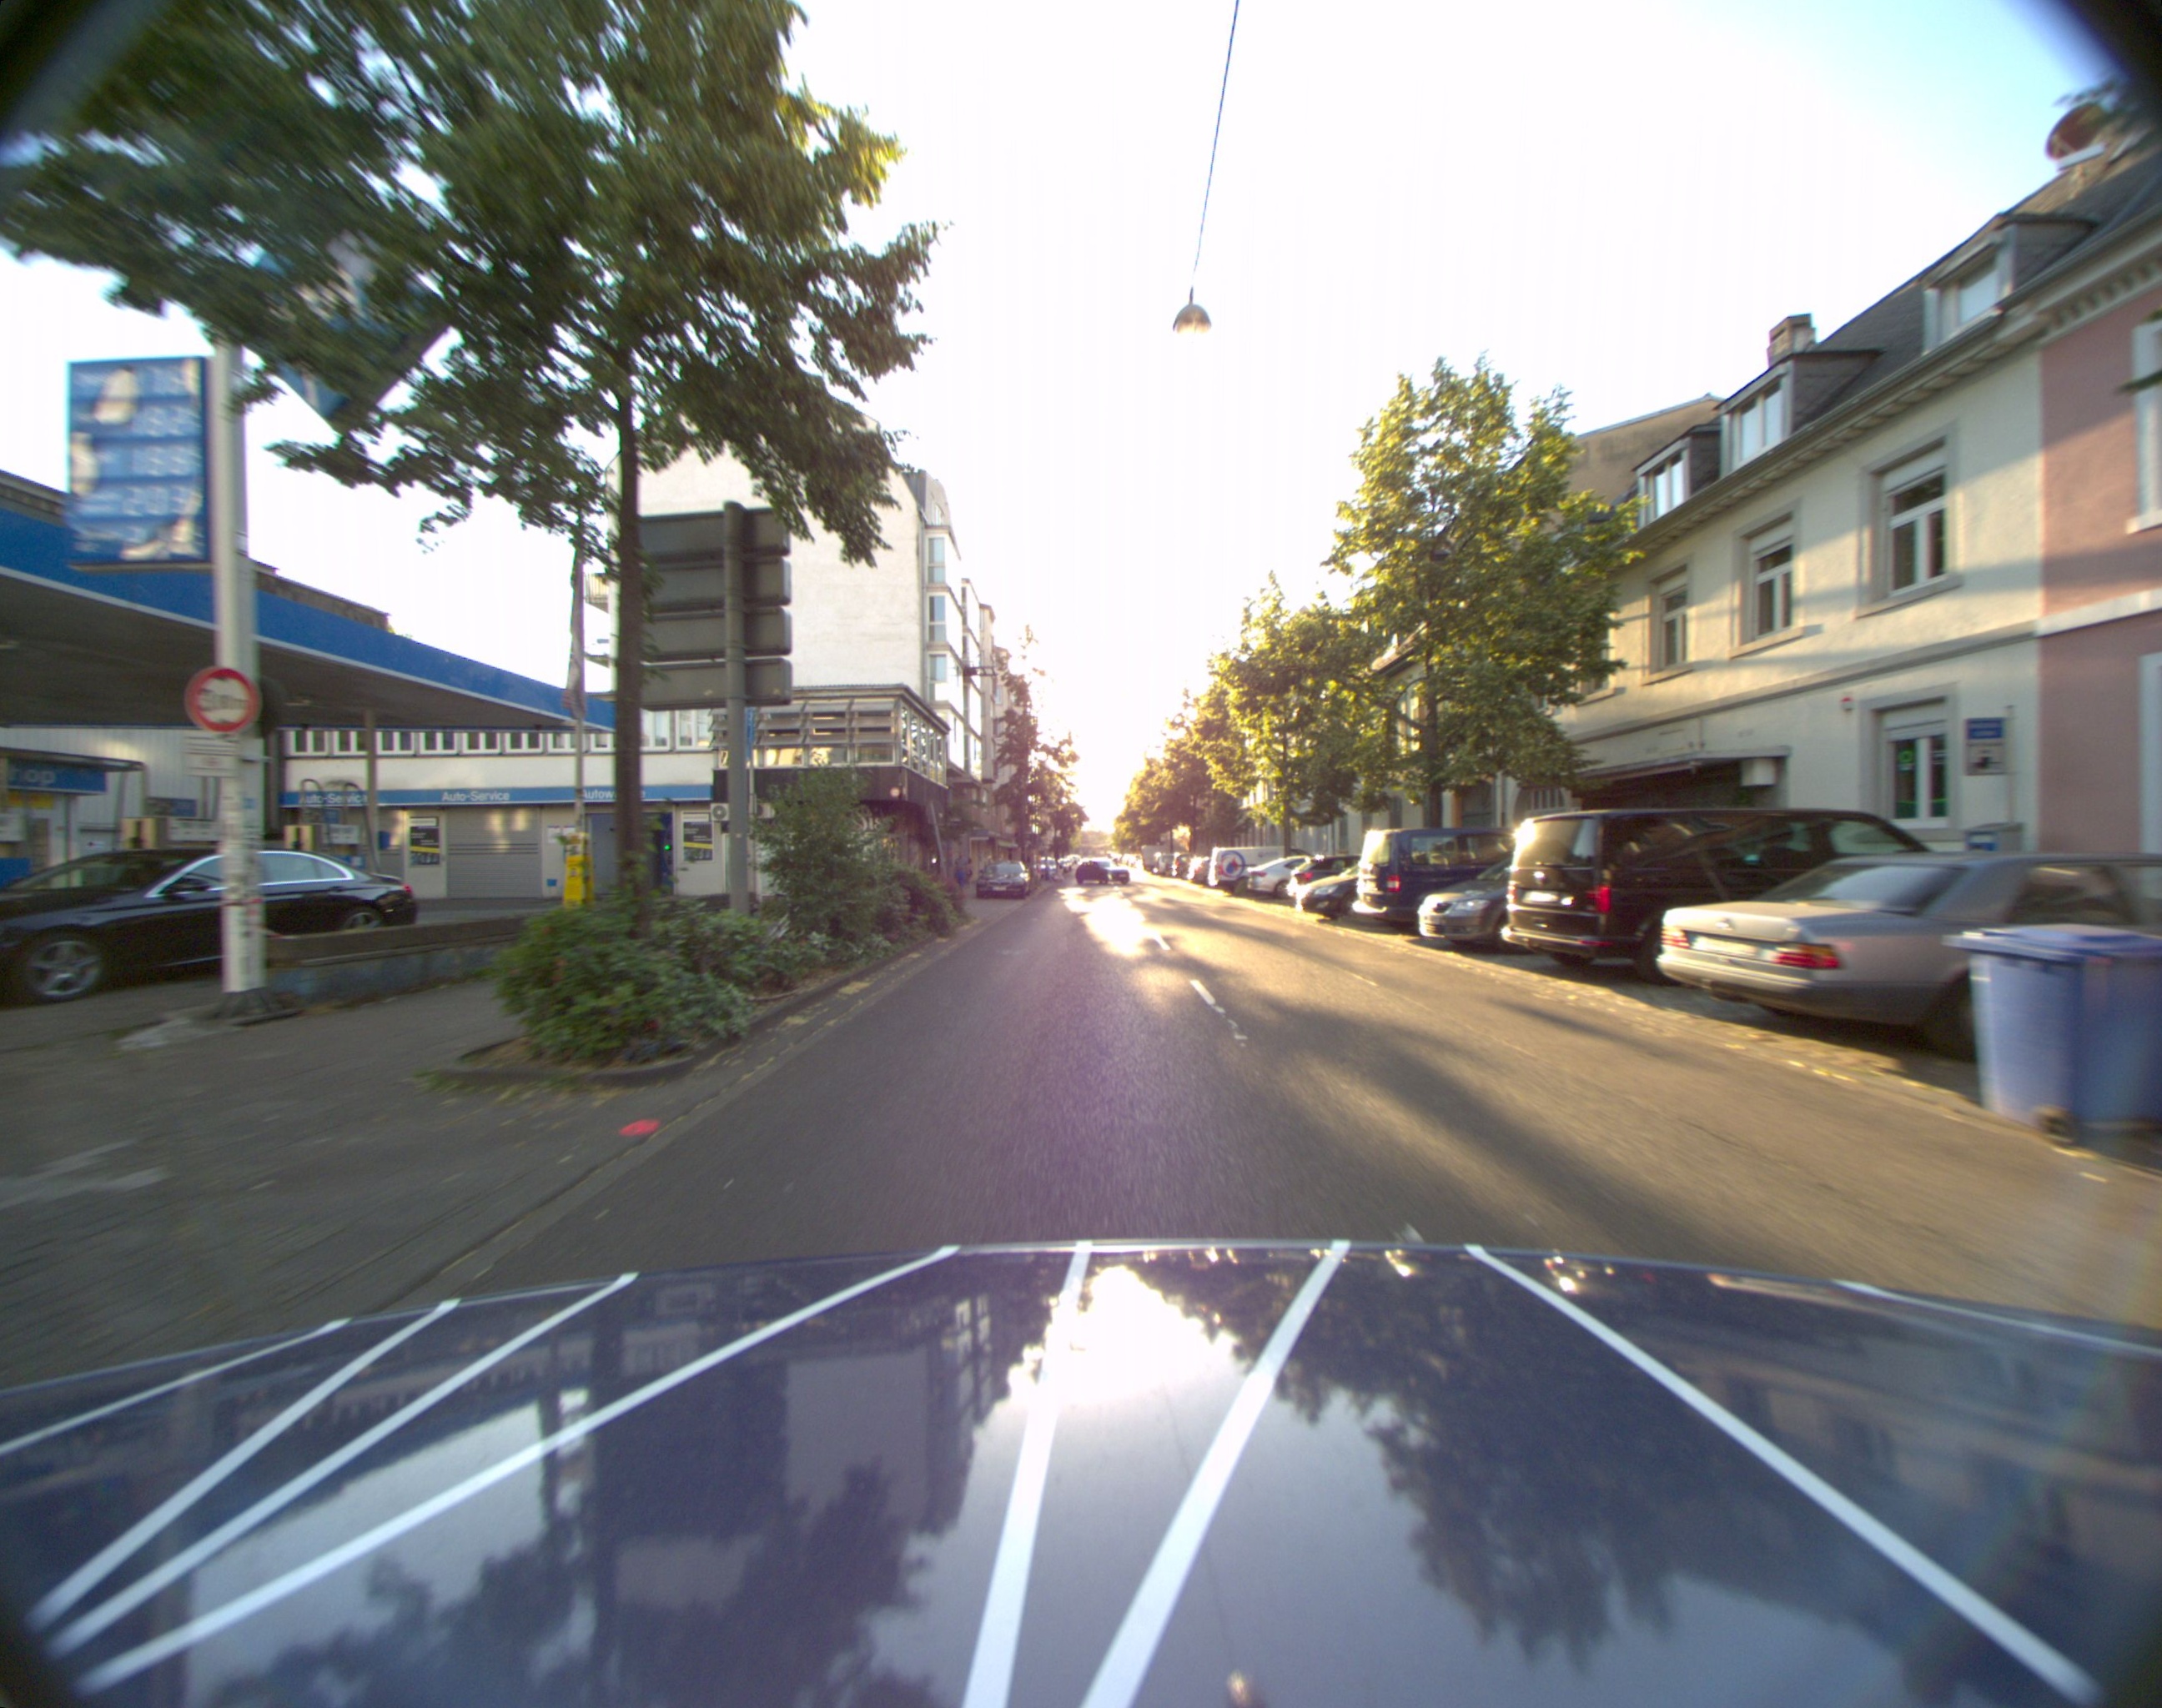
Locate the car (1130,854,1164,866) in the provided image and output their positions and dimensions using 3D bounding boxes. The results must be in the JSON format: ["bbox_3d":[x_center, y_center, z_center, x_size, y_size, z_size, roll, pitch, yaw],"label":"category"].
[{"bbox_3d":[8.969,0.856,103.830,4.393,1.414,1.822,-2,0,1],"label":"car"}]

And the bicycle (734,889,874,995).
[{"bbox_3d":[-3.391,1.040,9.455,0.482,1.136,1.684,2,0,31],"label":"bicycle"}]

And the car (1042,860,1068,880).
[{"bbox_3d":[-2.111,1.254,62.079,1.846,1.472,5.190,1,0,1],"label":"car"}]

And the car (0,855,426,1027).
[{"bbox_3d":[-10.342,0.775,8.490,1.739,1.422,4.907,0,1,1],"label":"car"}]

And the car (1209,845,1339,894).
[{"bbox_3d":[7.958,0.638,31.670,4.882,1.897,1.974,-1,0,1],"label":"car"}]

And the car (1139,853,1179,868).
[{"bbox_3d":[8.628,0.709,83.920,4.196,1.474,1.970,-2,0,0],"label":"car"}]

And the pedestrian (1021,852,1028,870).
[{"bbox_3d":[-5.778,0.736,77.830,0.590,1.799,0.836,2,1,1],"label":"pedestrian"}]

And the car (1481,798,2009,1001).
[{"bbox_3d":[7.497,0.478,8.945,4.495,1.964,1.965,-2,0,-1],"label":"car"}]

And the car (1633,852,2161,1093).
[{"bbox_3d":[7.276,0.780,5.828,4.604,1.461,1.893,-2,0,4],"label":"car"}]

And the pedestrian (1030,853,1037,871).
[{"bbox_3d":[-4.859,0.831,77.867,0.627,1.857,0.976,2,1,1],"label":"pedestrian"}]

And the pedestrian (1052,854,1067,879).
[{"bbox_3d":[-1.455,0.843,51.337,0.924,1.685,0.762,0,0,2],"label":"pedestrian"}]

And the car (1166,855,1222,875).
[{"bbox_3d":[8.728,0.871,58.965,4.162,1.431,1.594,-1,0,2],"label":"car"}]

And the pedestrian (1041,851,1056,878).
[{"bbox_3d":[-2.116,0.698,50.239,0.924,1.749,0.762,0,0,2],"label":"pedestrian"}]

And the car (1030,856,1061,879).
[{"bbox_3d":[-2.533,0.935,55.693,1.884,1.565,4.692,1,0,1],"label":"car"}]

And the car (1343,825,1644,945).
[{"bbox_3d":[7.533,0.552,14.281,4.494,1.964,2.068,-2,0,1],"label":"car"}]

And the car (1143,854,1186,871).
[{"bbox_3d":[8.643,0.857,78.492,4.223,1.497,1.793,-2,0,1],"label":"car"}]

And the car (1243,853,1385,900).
[{"bbox_3d":[8.143,0.778,26.888,4.488,1.476,1.734,-2,0,3],"label":"car"}]

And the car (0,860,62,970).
[{"bbox_3d":[-14.708,0.825,7.910,1.714,1.394,4.758,0,1,1],"label":"car"}]

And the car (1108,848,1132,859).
[{"bbox_3d":[8.738,-0.171,168.869,4.782,2.344,2.153,-1,0,-27],"label":"car"}]

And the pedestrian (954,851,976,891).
[{"bbox_3d":[-5.245,0.765,34.356,0.858,1.784,0.997,0,0,0],"label":"pedestrian"}]

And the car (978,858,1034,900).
[{"bbox_3d":[-2.924,0.941,30.622,1.833,1.479,4.849,1,0,-1],"label":"car"}]

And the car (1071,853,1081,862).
[{"bbox_3d":[-1.142,0.817,168.331,1.867,1.900,4.256,2,0,4],"label":"car"}]

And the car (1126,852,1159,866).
[{"bbox_3d":[9.060,0.686,111.789,4.718,1.800,2.053,-2,0,2],"label":"car"}]

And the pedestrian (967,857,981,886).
[{"bbox_3d":[-5.700,0.925,40.569,0.612,1.516,0.773,0,0,1],"label":"pedestrian"}]

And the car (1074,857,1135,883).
[{"bbox_3d":[1.325,0.922,44.650,1.688,1.453,4.062,-1,0,-29],"label":"car"}]

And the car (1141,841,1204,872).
[{"bbox_3d":[8.665,0.235,72.433,5.672,2.606,2.171,-2,0,1],"label":"car"}]

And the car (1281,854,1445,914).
[{"bbox_3d":[7.853,0.810,21.445,3.932,1.492,1.905,-2,0,3],"label":"car"}]

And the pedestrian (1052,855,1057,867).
[{"bbox_3d":[-3.279,0.815,94.781,0.626,1.480,0.640,0,0,2],"label":"pedestrian"}]

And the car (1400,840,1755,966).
[{"bbox_3d":[7.341,0.693,11.581,4.140,1.627,1.860,-2,0,1],"label":"car"}]

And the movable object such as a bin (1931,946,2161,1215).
[{"bbox_3d":[5.124,1.069,3.831,0.691,1.098,0.883,0,0,3],"label":"movable object such as a bin"}]

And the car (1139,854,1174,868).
[{"bbox_3d":[9.045,0.865,91.412,3.925,1.440,1.697,-3,0,-2],"label":"car"}]

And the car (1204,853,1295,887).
[{"bbox_3d":[8.134,0.772,37.060,4.046,1.546,1.965,-1,0,3],"label":"car"}]

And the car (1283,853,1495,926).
[{"bbox_3d":[7.333,0.814,18.338,4.338,1.492,1.841,-2,0,-4],"label":"car"}]

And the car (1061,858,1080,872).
[{"bbox_3d":[-1.111,1.217,82.674,1.778,1.431,5.001,1,0,3],"label":"car"}]

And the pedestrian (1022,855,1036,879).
[{"bbox_3d":[-3.511,0.882,51.237,0.829,1.629,0.828,0,0,2],"label":"pedestrian"}]

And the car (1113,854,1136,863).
[{"bbox_3d":[8.685,0.880,151.920,4.579,1.548,1.809,-1,0,-37],"label":"car"}]

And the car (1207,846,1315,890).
[{"bbox_3d":[8.067,0.628,34.416,4.439,1.859,1.894,-1,0,1],"label":"car"}]

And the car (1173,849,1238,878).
[{"bbox_3d":[8.376,0.634,51.445,4.147,1.796,1.807,-1,0,3],"label":"car"}]

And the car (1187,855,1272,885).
[{"bbox_3d":[7.658,0.821,39.535,4.047,1.475,1.963,-1,0,1],"label":"car"}]

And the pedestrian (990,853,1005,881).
[{"bbox_3d":[-5.104,0.787,46.374,0.790,1.694,0.700,0,0,1],"label":"pedestrian"}]

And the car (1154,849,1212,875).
[{"bbox_3d":[8.259,0.646,61.817,4.510,1.942,1.919,-2,0,3],"label":"car"}]
